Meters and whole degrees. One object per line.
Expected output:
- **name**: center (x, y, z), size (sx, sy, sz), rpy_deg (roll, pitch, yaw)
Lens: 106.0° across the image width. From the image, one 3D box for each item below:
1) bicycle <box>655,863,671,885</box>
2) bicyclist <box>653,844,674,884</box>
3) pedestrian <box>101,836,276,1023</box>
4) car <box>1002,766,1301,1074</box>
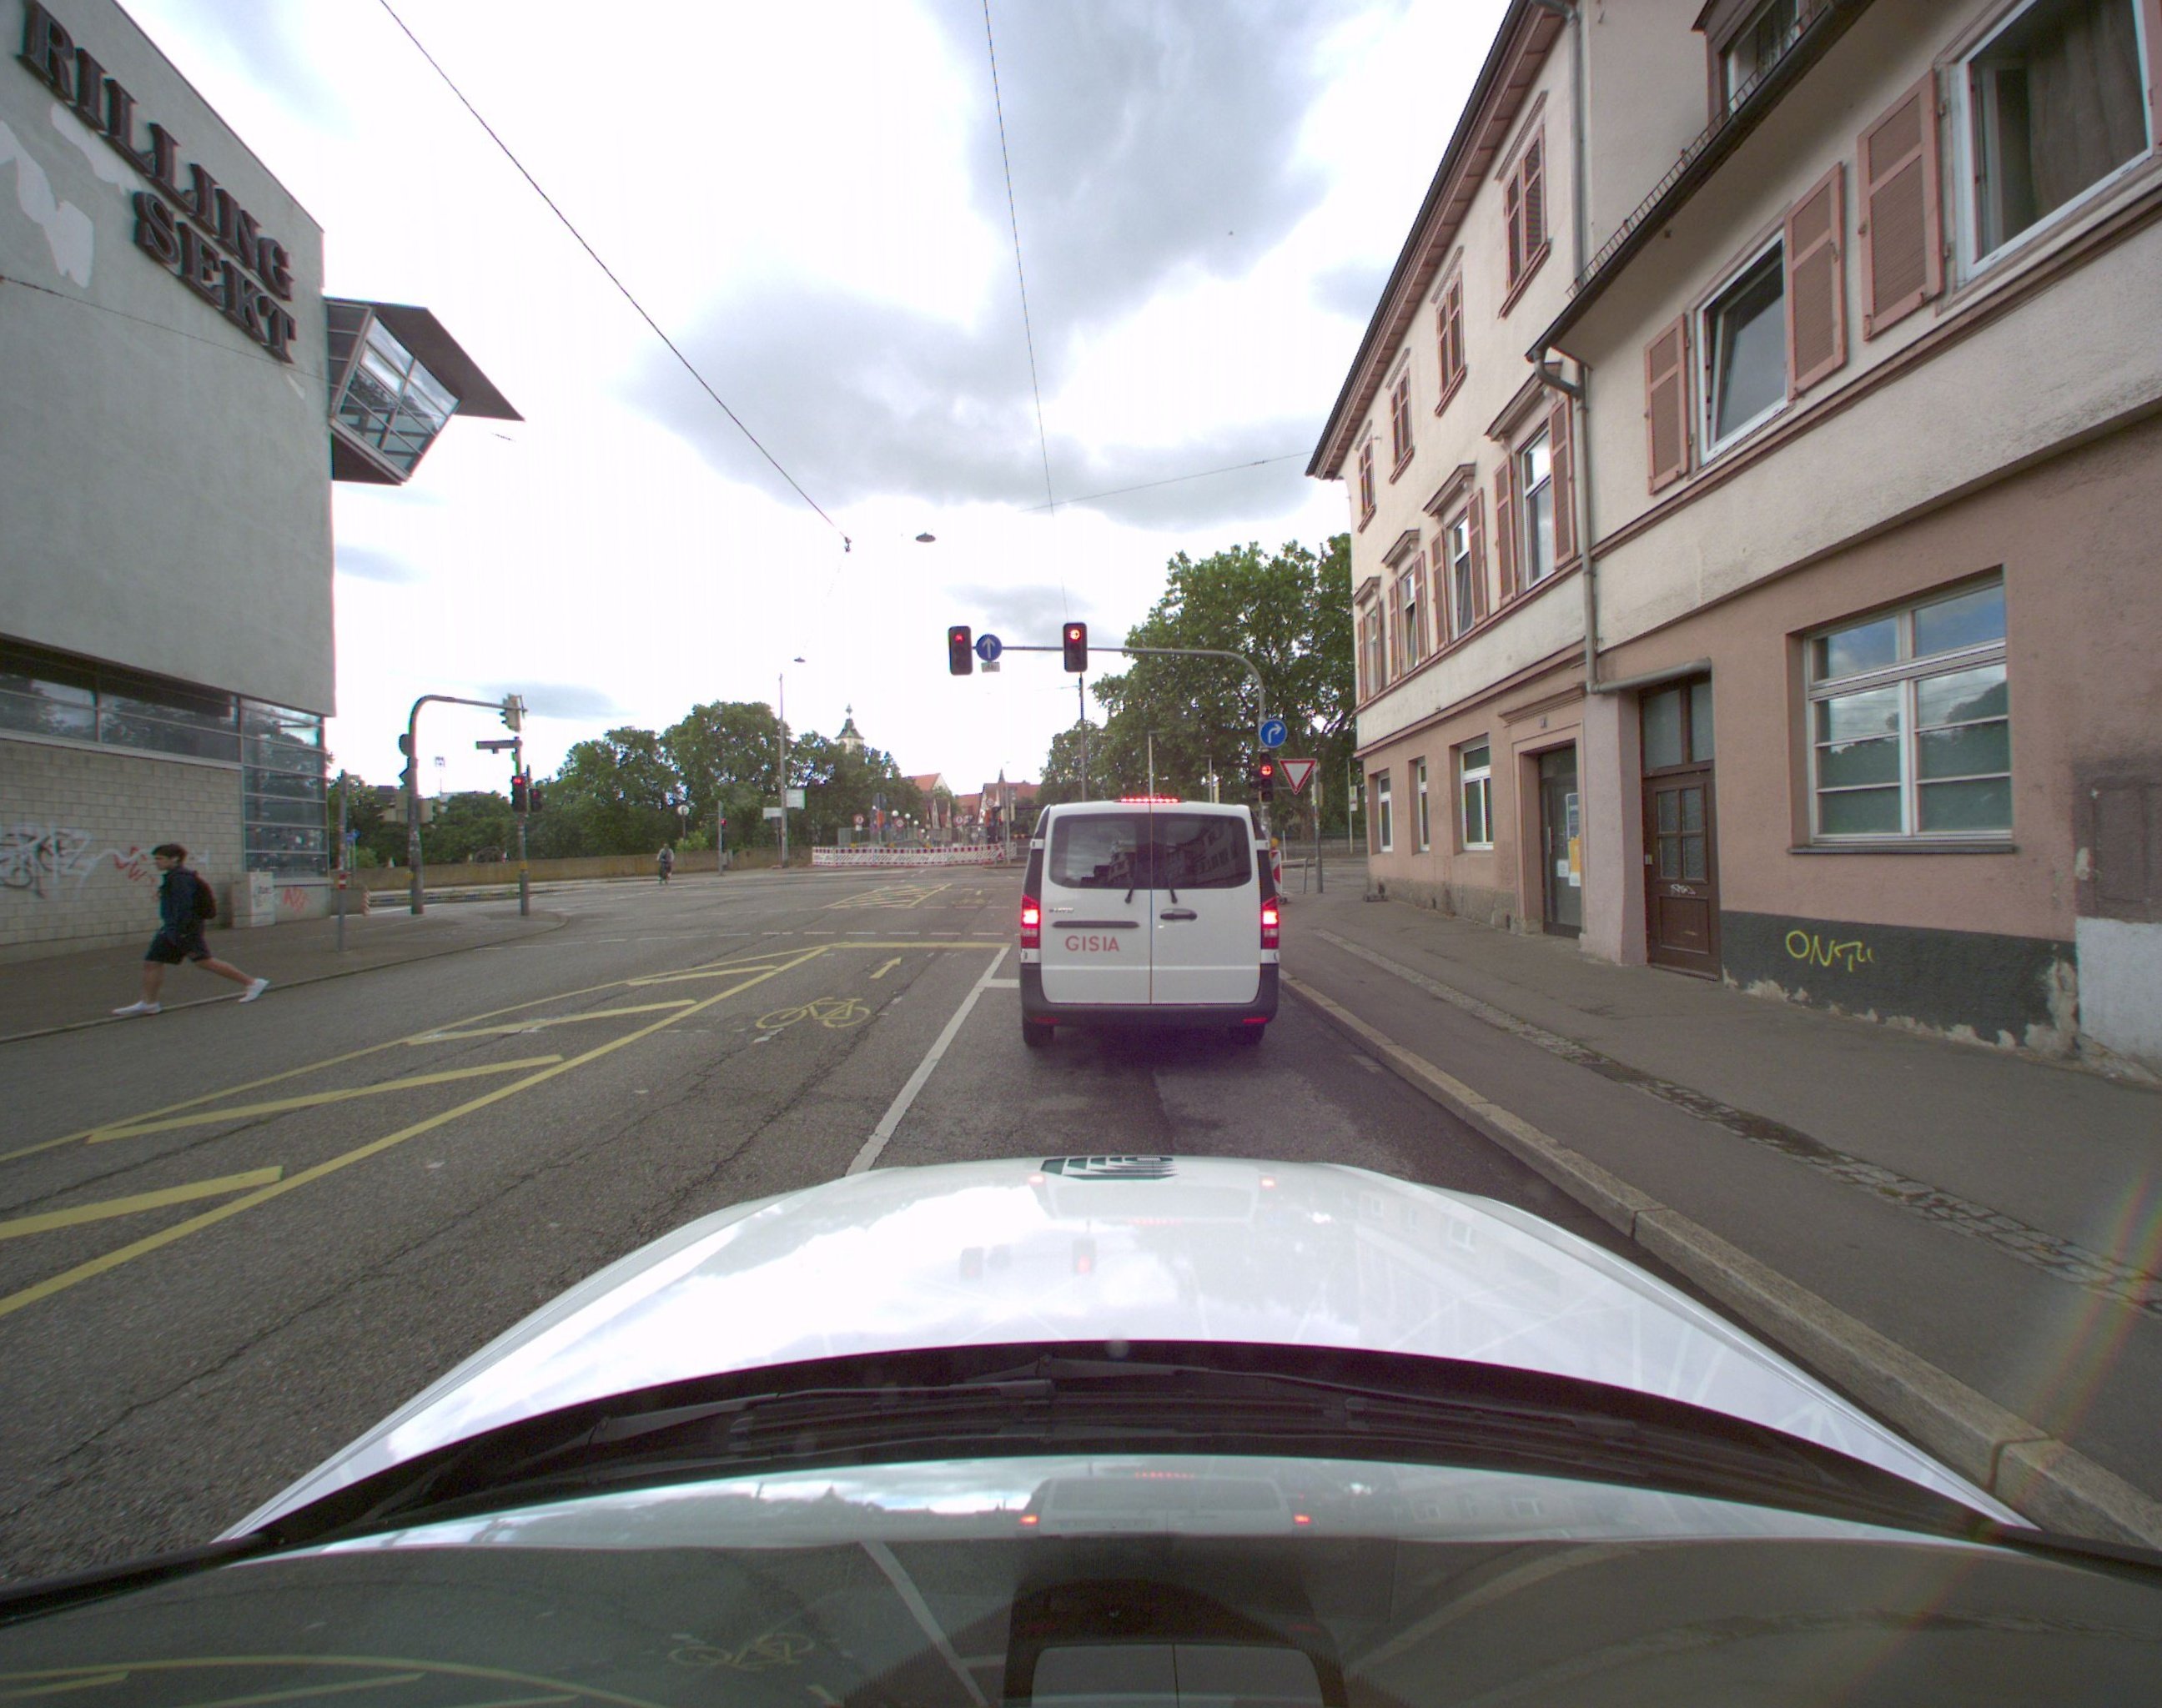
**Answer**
- **bicycle**: center (-18.249, 0.866, 35.601), size (0.544, 0.892, 1.864), rpy_deg (-2, 0, -26)
- **bicyclist**: center (-18.091, 0.418, 35.312), size (0.727, 1.701, 0.804), rpy_deg (-2, 0, -25)
- **pedestrian**: center (-9.802, 0.751, 9.018), size (1.097, 1.886, 1.046), rpy_deg (-1, 2, -38)
- **car**: center (0.540, 0.382, 7.688), size (1.943, 2.013, 4.700), rpy_deg (0, 1, 2)
